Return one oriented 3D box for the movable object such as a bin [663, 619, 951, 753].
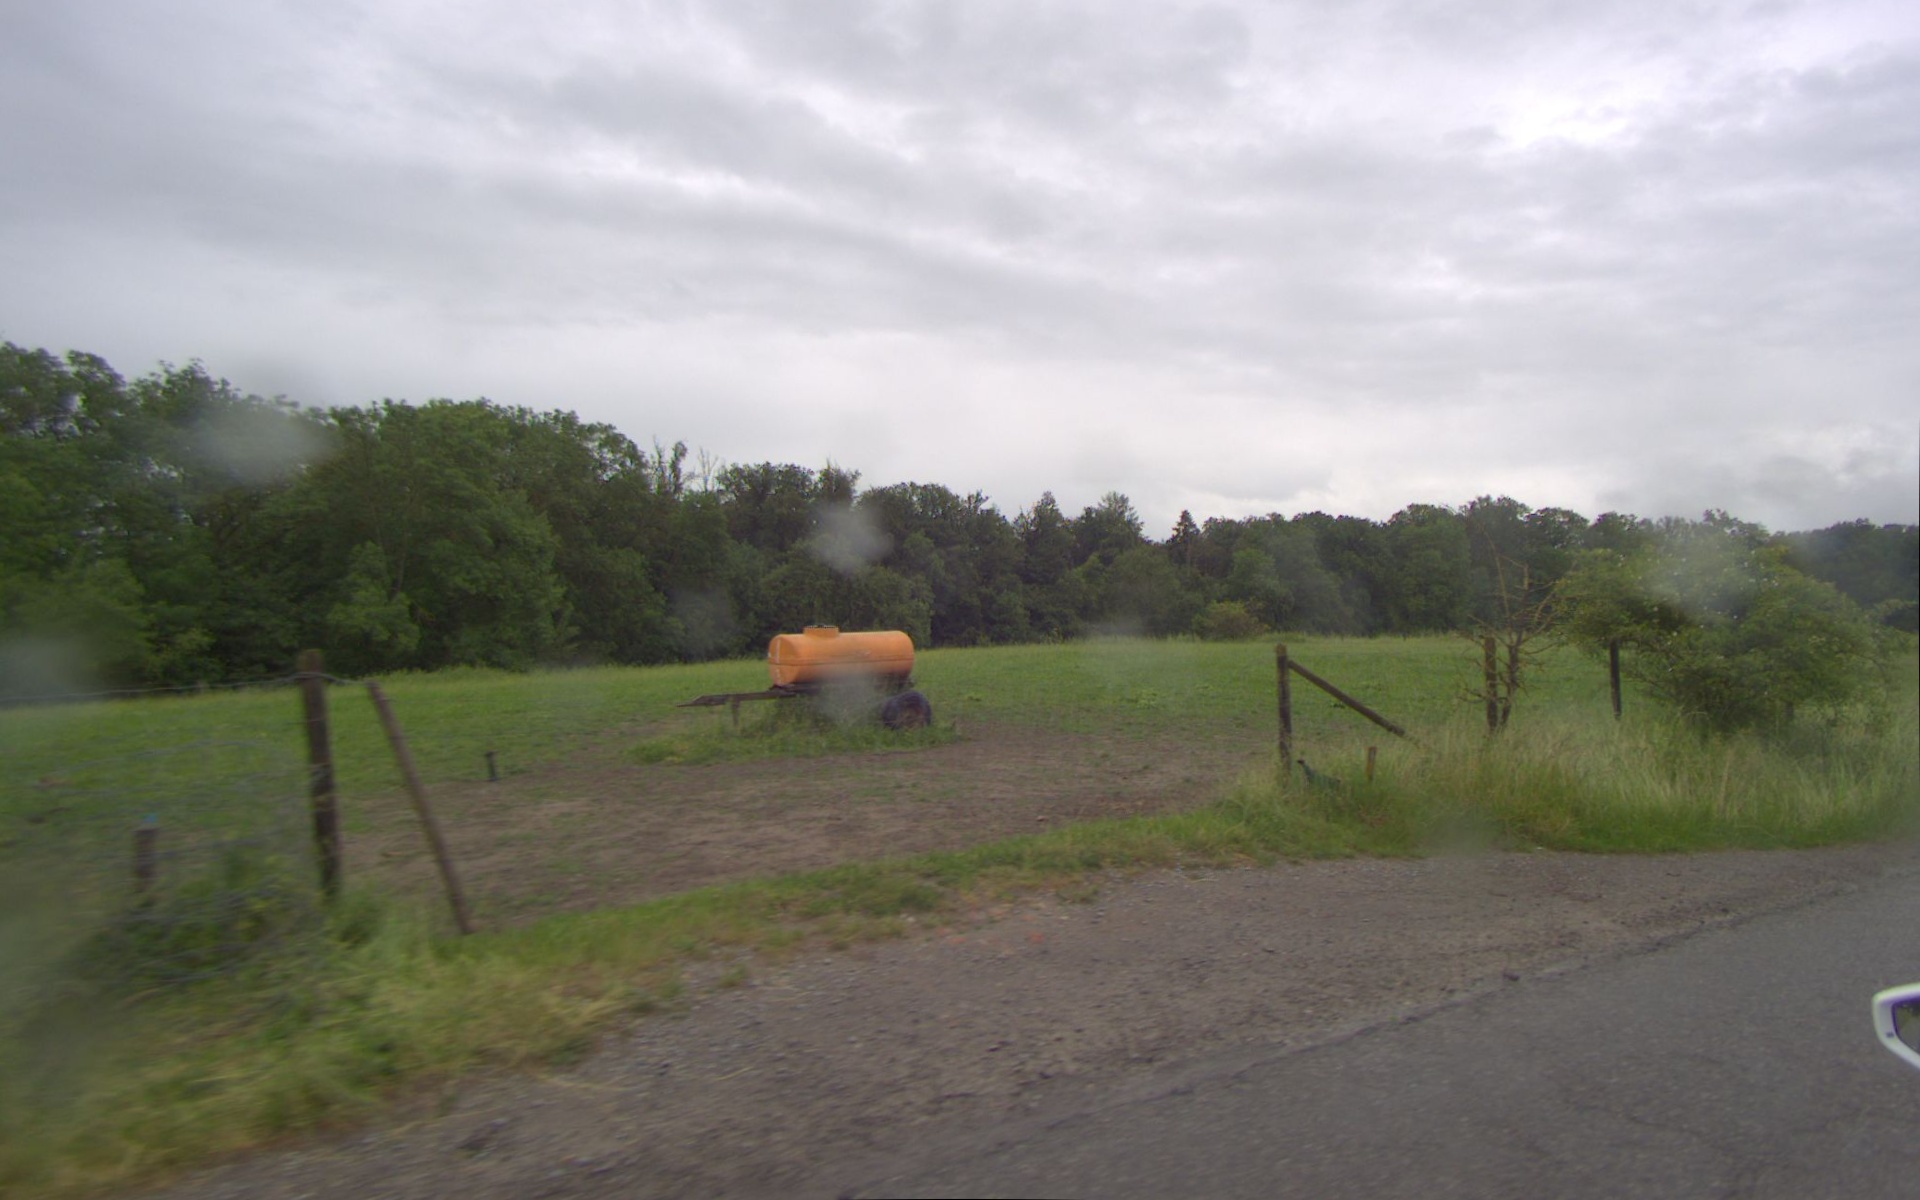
[{"bbox_3d":[-2.059,1.102,13.703,3.499,1.591,1.669,2,-1,-32],"label":"movable object such as a bin"}]
